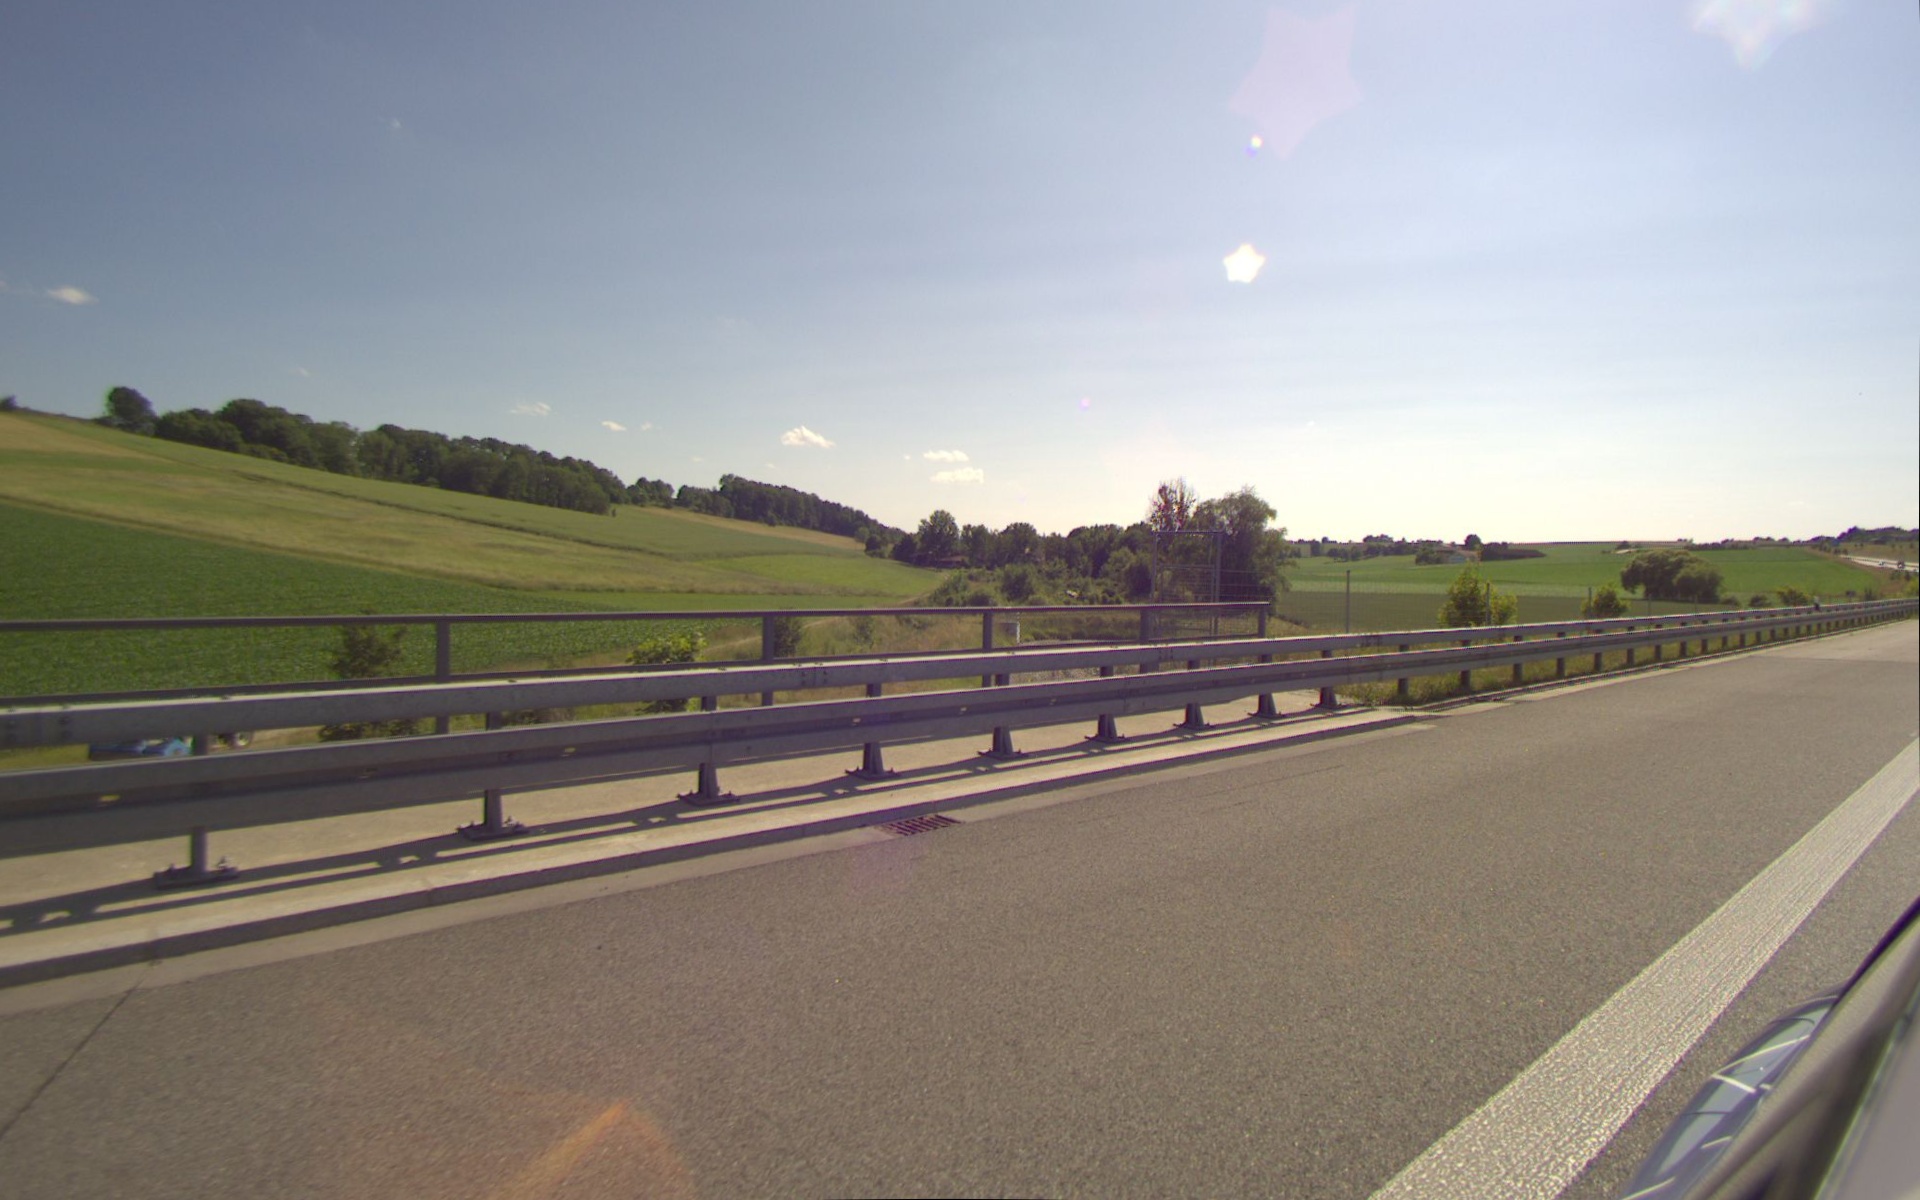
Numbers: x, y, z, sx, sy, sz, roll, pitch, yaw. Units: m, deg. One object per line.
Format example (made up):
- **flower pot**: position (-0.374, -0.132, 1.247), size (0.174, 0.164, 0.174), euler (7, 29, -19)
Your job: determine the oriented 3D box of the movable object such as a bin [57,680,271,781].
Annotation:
- **movable object such as a bin**: position (-29.812, 4.773, 38.321), size (3.223, 2.805, 6.235), euler (-2, 1, -1)
